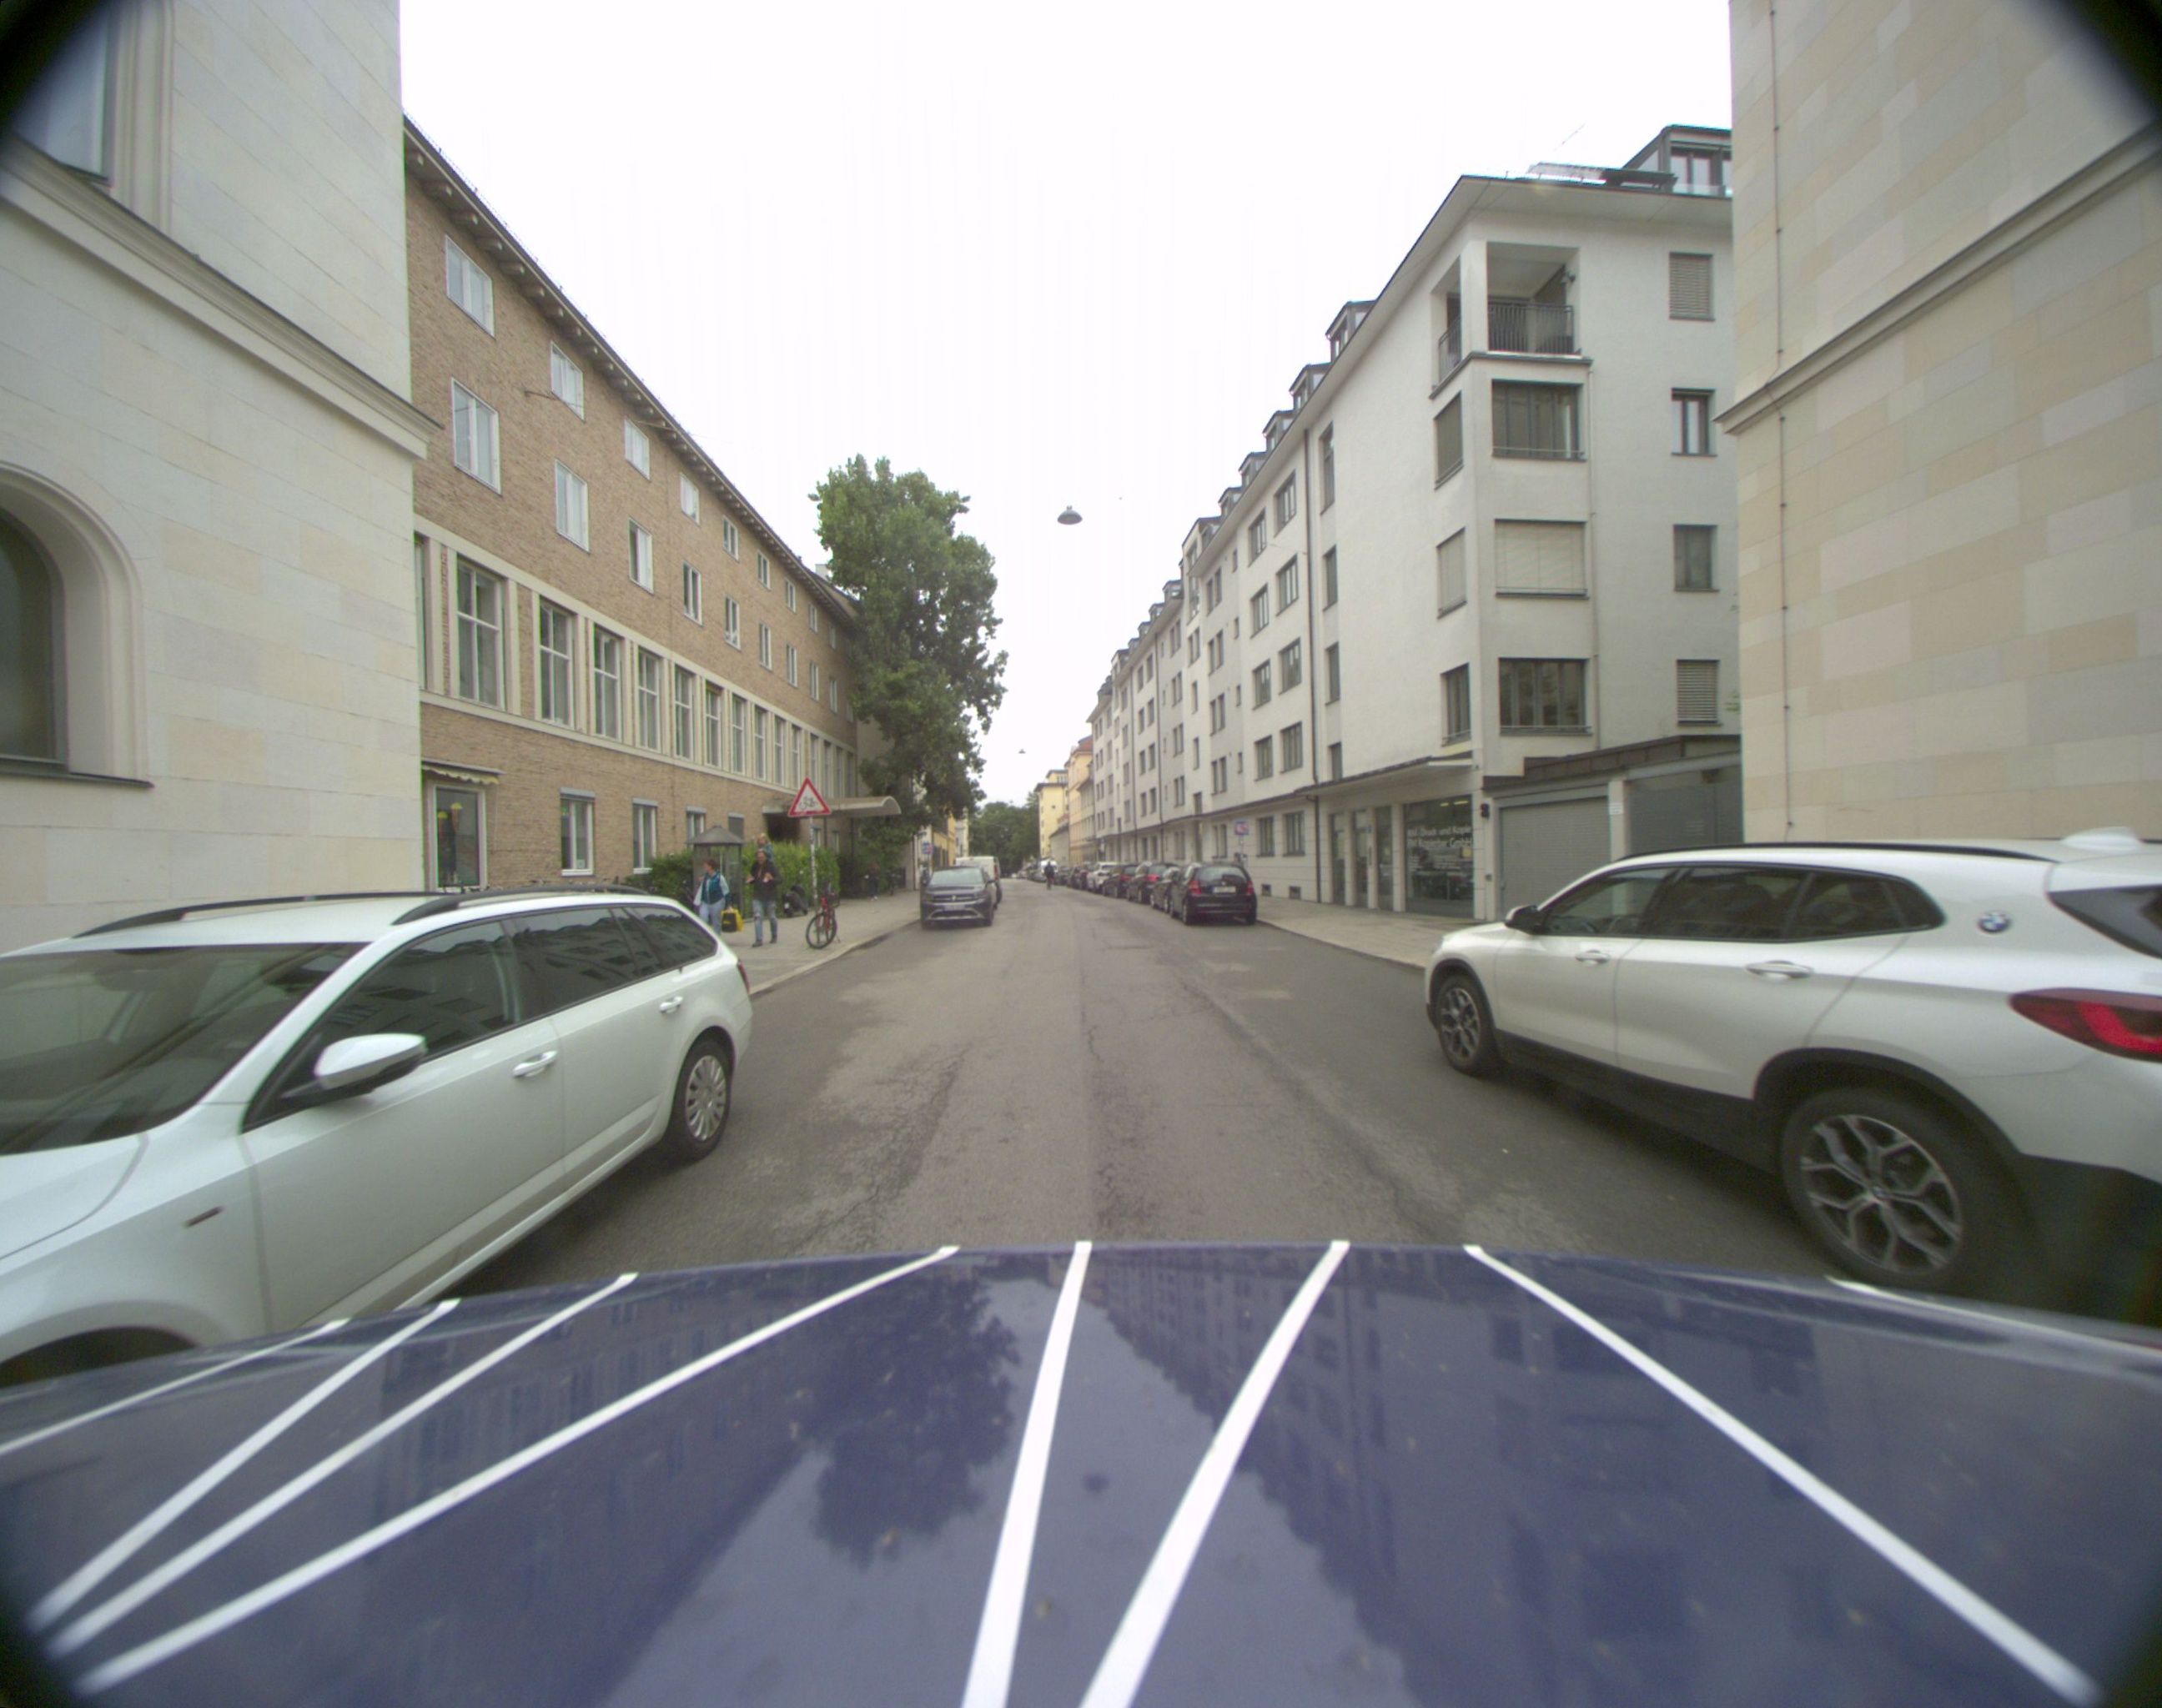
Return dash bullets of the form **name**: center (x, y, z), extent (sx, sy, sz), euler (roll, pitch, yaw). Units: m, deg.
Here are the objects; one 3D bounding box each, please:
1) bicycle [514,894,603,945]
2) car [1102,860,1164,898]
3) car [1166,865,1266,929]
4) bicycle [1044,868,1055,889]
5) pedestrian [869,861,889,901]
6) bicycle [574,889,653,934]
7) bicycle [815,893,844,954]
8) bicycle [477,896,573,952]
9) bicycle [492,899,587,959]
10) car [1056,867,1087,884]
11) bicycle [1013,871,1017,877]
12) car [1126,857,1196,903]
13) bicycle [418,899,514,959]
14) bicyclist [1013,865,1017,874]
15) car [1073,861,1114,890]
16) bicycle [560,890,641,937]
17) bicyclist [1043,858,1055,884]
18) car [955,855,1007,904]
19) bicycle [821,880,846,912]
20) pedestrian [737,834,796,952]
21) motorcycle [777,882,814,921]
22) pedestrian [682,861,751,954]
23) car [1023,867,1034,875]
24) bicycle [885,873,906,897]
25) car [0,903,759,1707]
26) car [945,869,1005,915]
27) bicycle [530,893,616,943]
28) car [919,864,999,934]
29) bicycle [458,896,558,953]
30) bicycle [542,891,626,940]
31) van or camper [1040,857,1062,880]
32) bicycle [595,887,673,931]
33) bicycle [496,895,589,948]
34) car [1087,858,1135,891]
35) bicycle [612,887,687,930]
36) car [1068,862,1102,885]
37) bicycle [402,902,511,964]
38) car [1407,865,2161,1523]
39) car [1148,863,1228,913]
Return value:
- **bicycle**: center (-10.879, 1.359, 15.829), extent (1.633, 1.035, 0.348), euler (0, 0, 2)
- **car**: center (2.307, 1.124, 35.241), extent (1.878, 1.648, 4.587), euler (0, -1, -9)
- **car**: center (3.288, 1.025, 19.272), extent (1.755, 1.444, 4.015), euler (0, -1, -1)
- **bicycle**: center (-1.977, 1.514, 47.370), extent (0.650, 1.190, 1.949), euler (-1, 0, -4)
- **pedestrian**: center (-8.568, 1.136, 32.243), extent (0.589, 1.623, 0.877), euler (-2, 0, -1)
- **bicycle**: center (-10.916, 1.342, 17.754), extent (1.633, 1.035, 0.348), euler (0, 0, 2)
- **bicycle**: center (-4.790, 1.294, 14.531), extent (0.348, 1.035, 1.633), euler (1, 0, -13)
- **bicycle**: center (-10.807, 1.357, 14.791), extent (1.633, 1.035, 0.348), euler (0, 0, 2)
- **bicycle**: center (-9.726, 1.337, 13.669), extent (1.433, 1.035, 0.348), euler (0, 0, -2)
- **car**: center (-0.797, 1.693, 61.026), extent (1.645, 1.346, 4.055), euler (0, -1, -13)
- **bicycle**: center (-12.732, 3.826, 146.618), extent (0.735, 1.144, 1.998), euler (-2, -1, -7)
- **car**: center (2.999, 0.990, 29.379), extent (1.878, 1.648, 4.078), euler (0, -1, -6)
- **bicycle**: center (-11.226, 1.365, 13.889), extent (1.433, 1.035, 0.348), euler (0, 0, -2)
- **bicyclist**: center (-12.750, 3.007, 146.617), extent (0.688, 1.617, 0.852), euler (-2, 0, -8)
- **car**: center (0.709, 1.281, 46.120), extent (1.878, 1.678, 4.518), euler (0, -1, -7)
- **bicycle**: center (-10.921, 1.356, 17.266), extent (1.633, 1.035, 0.348), euler (0, 0, 2)
- **bicyclist**: center (-1.998, 1.041, 47.213), extent (0.659, 1.541, 0.887), euler (-1, 0, -4)
- **car**: center (-4.235, 1.068, 32.866), extent (1.887, 1.913, 4.873), euler (-2, -1, -4)
- **bicycle**: center (-8.751, 1.481, 26.886), extent (0.423, 1.047, 1.488), euler (-2, -1, -3)
- **pedestrian**: center (-5.993, 0.734, 14.523), extent (0.795, 2.185, 0.813), euler (0, 0, -2)
- **motorcycle**: center (-8.532, 1.404, 22.767), extent (0.490, 1.047, 1.923), euler (-2, -1, -5)
- **pedestrian**: center (-6.889, 0.990, 14.394), extent (0.860, 1.683, 0.752), euler (-2, 0, 1)
- **car**: center (-9.471, 3.073, 136.391), extent (1.712, 1.490, 3.998), euler (-1, -1, -7)
- **bicycle**: center (-8.796, 1.432, 36.089), extent (0.672, 1.067, 2.223), euler (-1, -1, -6)
- **car**: center (-2.879, 1.022, 2.510), extent (1.794, 1.467, 4.313), euler (-1, -1, 0)
- **car**: center (-3.728, 1.301, 27.269), extent (1.678, 1.409, 4.200), euler (-2, 0, -3)
- **bicycle**: center (-10.859, 1.355, 16.255), extent (1.633, 1.035, 0.348), euler (0, 0, 2)
- **car**: center (-3.131, 1.092, 20.196), extent (1.752, 1.584, 3.954), euler (-2, 0, -5)
- **bicycle**: center (-10.797, 1.319, 14.327), extent (1.633, 1.035, 0.348), euler (0, 0, 2)
- **bicycle**: center (-10.959, 1.356, 16.752), extent (1.633, 1.035, 0.348), euler (0, 0, 2)
- **van or camper**: center (-3.219, 1.516, 80.273), extent (1.999, 2.297, 5.476), euler (-1, -1, -6)
- **bicycle**: center (-10.853, 1.337, 18.462), extent (1.634, 1.035, 0.348), euler (0, 0, -4)
- **bicycle**: center (-10.770, 1.349, 15.217), extent (1.633, 1.035, 0.348), euler (0, 0, 2)
- **car**: center (1.559, 1.098, 40.859), extent (1.878, 1.648, 4.588), euler (0, -1, -7)
- **bicycle**: center (-10.788, 1.365, 19.025), extent (1.635, 1.035, 0.348), euler (0, 0, -6)
- **car**: center (0.214, 1.331, 51.806), extent (1.779, 1.530, 4.157), euler (0, -1, -7)
- **bicycle**: center (-10.885, 1.374, 13.255), extent (1.633, 1.035, 0.348), euler (0, 0, 2)
- **car**: center (3.454, 0.854, 3.730), extent (1.783, 1.526, 4.210), euler (0, 0, -2)
- **car**: center (3.286, 1.030, 24.010), extent (1.755, 1.444, 4.015), euler (0, -1, -3)
